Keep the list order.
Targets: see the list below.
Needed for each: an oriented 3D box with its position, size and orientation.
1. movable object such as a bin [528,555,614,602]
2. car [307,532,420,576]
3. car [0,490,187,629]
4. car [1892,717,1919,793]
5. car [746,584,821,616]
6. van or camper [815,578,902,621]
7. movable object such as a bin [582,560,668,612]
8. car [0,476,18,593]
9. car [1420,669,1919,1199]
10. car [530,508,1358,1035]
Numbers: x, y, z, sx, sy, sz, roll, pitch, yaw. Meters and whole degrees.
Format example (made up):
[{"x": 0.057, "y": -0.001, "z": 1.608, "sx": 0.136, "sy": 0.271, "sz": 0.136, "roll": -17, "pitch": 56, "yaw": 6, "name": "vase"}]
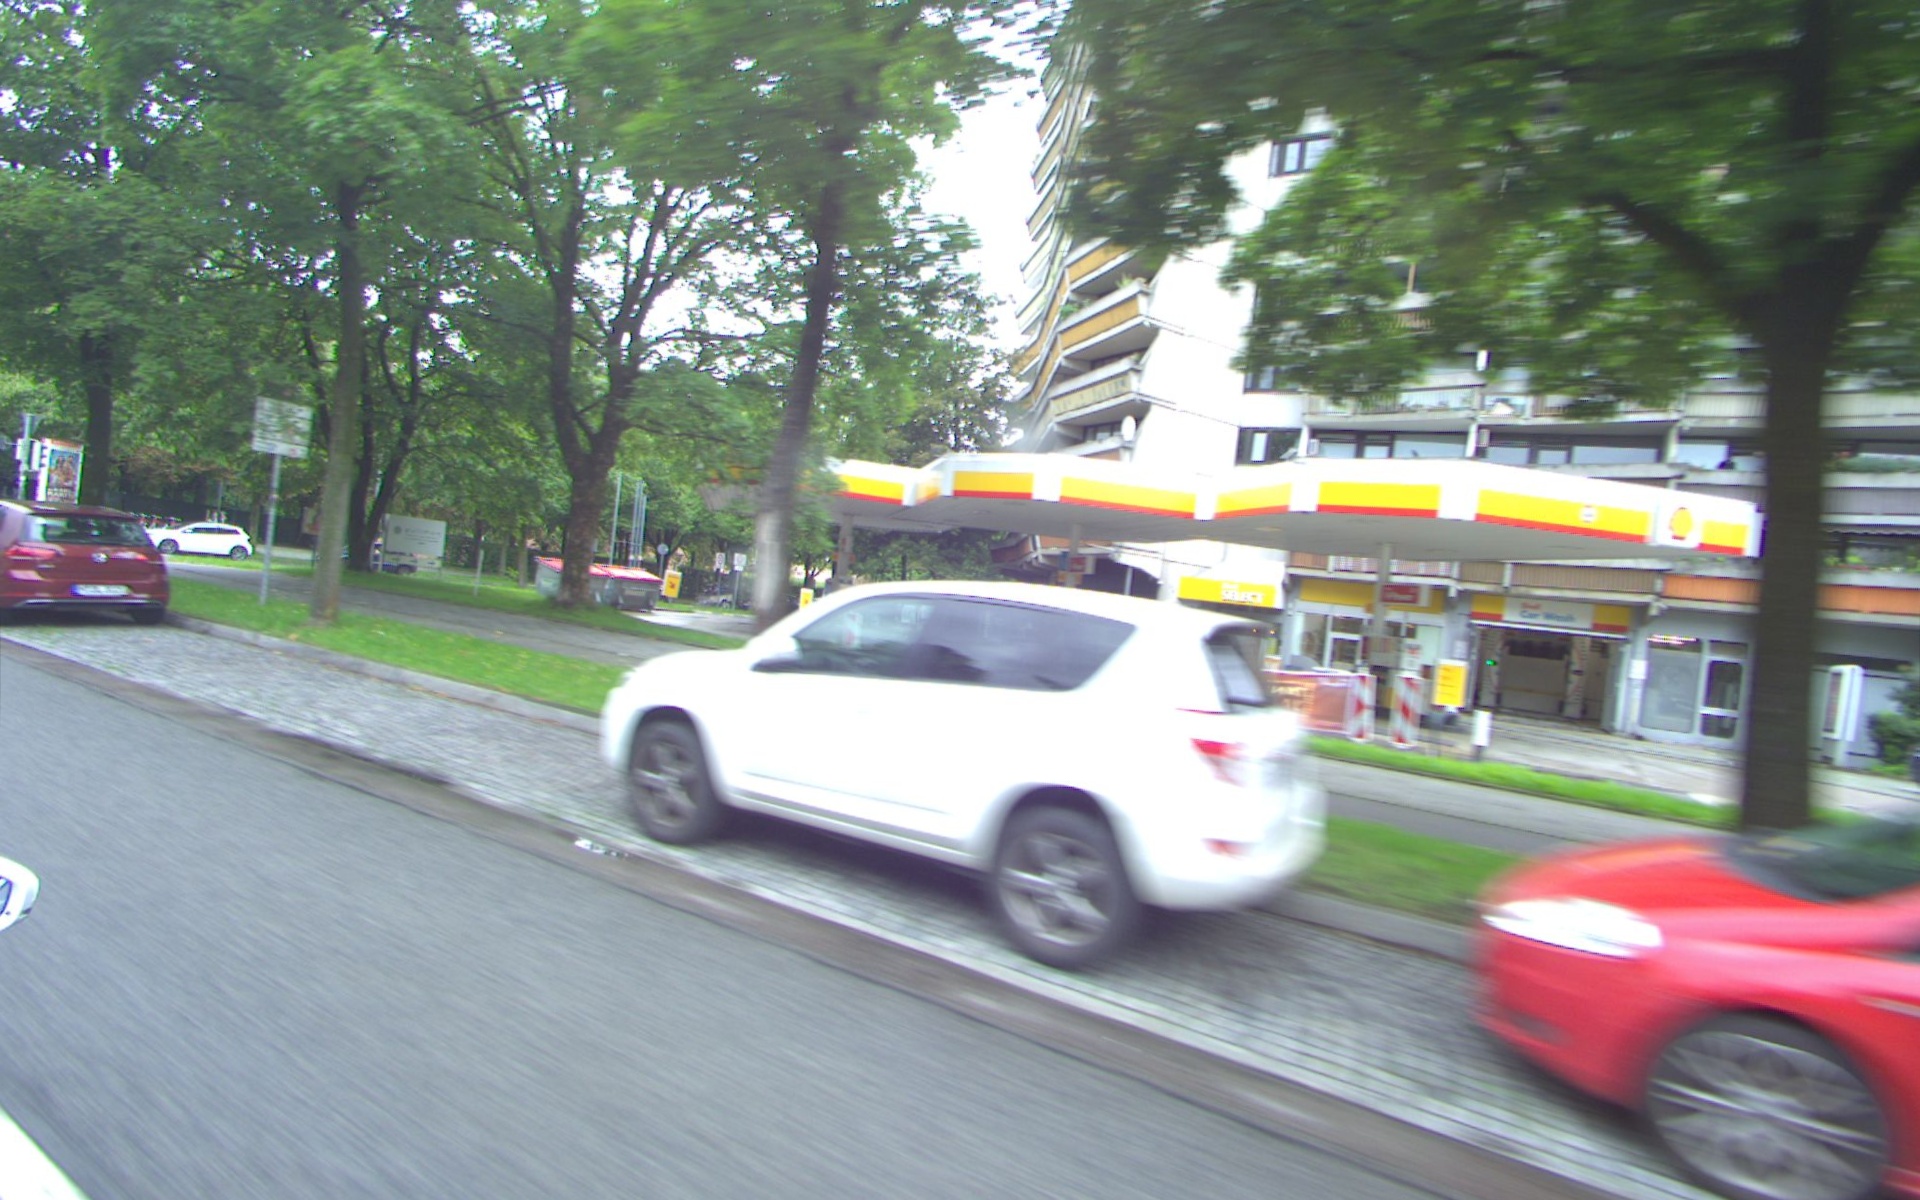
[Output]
[{"x": -12.873, "y": -0.707, "z": 33.347, "sx": 1.506, "sy": 1.278, "sz": 2.062, "roll": 7, "pitch": 0, "yaw": 31, "name": "movable object such as a bin"}, {"x": -26.375, "y": -2.023, "z": 44.583, "sx": 1.903, "sy": 1.633, "sz": 3.872, "roll": 8, "pitch": 4, "yaw": 38, "name": "car"}, {"x": -11.960, "y": -0.612, "z": 12.955, "sx": 4.210, "sy": 1.444, "sz": 1.712, "roll": 7, "pitch": 4, "yaw": 30, "name": "car"}, {"x": 22.255, "y": 3.528, "z": 20.730, "sx": 3.929, "sy": 1.539, "sz": 1.889, "roll": 7, "pitch": 0, "yaw": 26, "name": "car"}, {"x": -10.122, "y": -0.002, "z": 57.814, "sx": 1.742, "sy": 1.633, "sz": 4.022, "roll": 8, "pitch": 4, "yaw": 38, "name": "car"}, {"x": -6.346, "y": -0.013, "z": 63.452, "sx": 2.522, "sy": 2.395, "sz": 5.077, "roll": 8, "pitch": 4, "yaw": 38, "name": "van or camper"}, {"x": -11.739, "y": -0.483, "z": 35.259, "sx": 1.807, "sy": 1.505, "sz": 2.063, "roll": 7, "pitch": 0, "yaw": 31, "name": "movable object such as a bin"}, {"x": -16.016, "y": -1.161, "z": 15.259, "sx": 4.216, "sy": 1.682, "sz": 1.760, "roll": 7, "pitch": 5, "yaw": 36, "name": "car"}, {"x": 3.895, "y": 1.280, "z": 3.262, "sx": 4.074, "sy": 1.527, "sz": 1.761, "roll": 7, "pitch": 2, "yaw": 31, "name": "car"}, {"x": -0.276, "y": 0.612, "z": 5.878, "sx": 4.453, "sy": 1.855, "sz": 1.761, "roll": 7, "pitch": 2, "yaw": 31, "name": "car"}]
